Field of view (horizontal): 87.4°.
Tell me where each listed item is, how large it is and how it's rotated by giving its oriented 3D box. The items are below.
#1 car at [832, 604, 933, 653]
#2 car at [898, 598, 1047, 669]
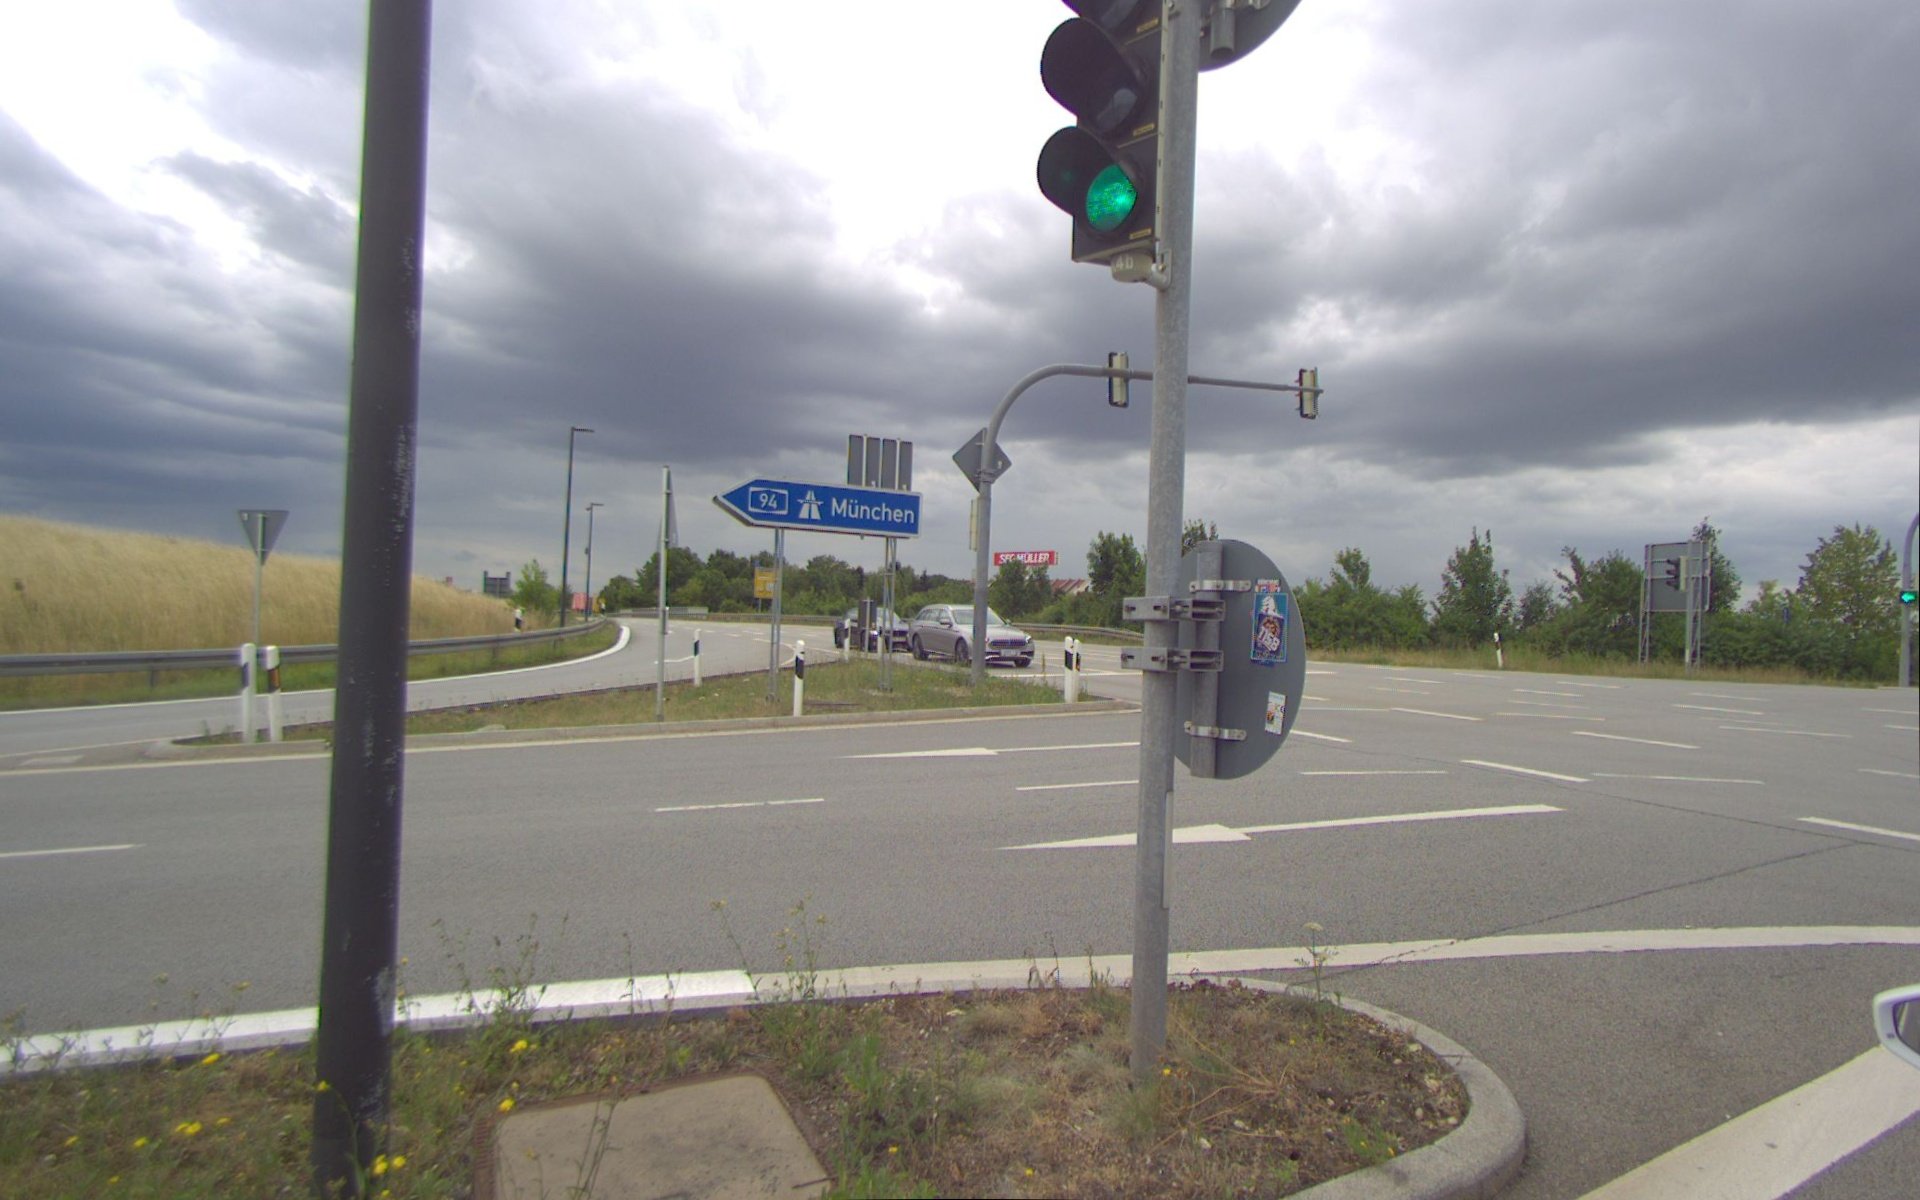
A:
[{"bbox_3d":[-2.610,0.905,32.728,1.690,1.429,4.645,2,-2,-25],"label":"car"},{"bbox_3d":[0.187,0.794,26.055,1.895,1.632,4.917,0,0,-25],"label":"car"}]
